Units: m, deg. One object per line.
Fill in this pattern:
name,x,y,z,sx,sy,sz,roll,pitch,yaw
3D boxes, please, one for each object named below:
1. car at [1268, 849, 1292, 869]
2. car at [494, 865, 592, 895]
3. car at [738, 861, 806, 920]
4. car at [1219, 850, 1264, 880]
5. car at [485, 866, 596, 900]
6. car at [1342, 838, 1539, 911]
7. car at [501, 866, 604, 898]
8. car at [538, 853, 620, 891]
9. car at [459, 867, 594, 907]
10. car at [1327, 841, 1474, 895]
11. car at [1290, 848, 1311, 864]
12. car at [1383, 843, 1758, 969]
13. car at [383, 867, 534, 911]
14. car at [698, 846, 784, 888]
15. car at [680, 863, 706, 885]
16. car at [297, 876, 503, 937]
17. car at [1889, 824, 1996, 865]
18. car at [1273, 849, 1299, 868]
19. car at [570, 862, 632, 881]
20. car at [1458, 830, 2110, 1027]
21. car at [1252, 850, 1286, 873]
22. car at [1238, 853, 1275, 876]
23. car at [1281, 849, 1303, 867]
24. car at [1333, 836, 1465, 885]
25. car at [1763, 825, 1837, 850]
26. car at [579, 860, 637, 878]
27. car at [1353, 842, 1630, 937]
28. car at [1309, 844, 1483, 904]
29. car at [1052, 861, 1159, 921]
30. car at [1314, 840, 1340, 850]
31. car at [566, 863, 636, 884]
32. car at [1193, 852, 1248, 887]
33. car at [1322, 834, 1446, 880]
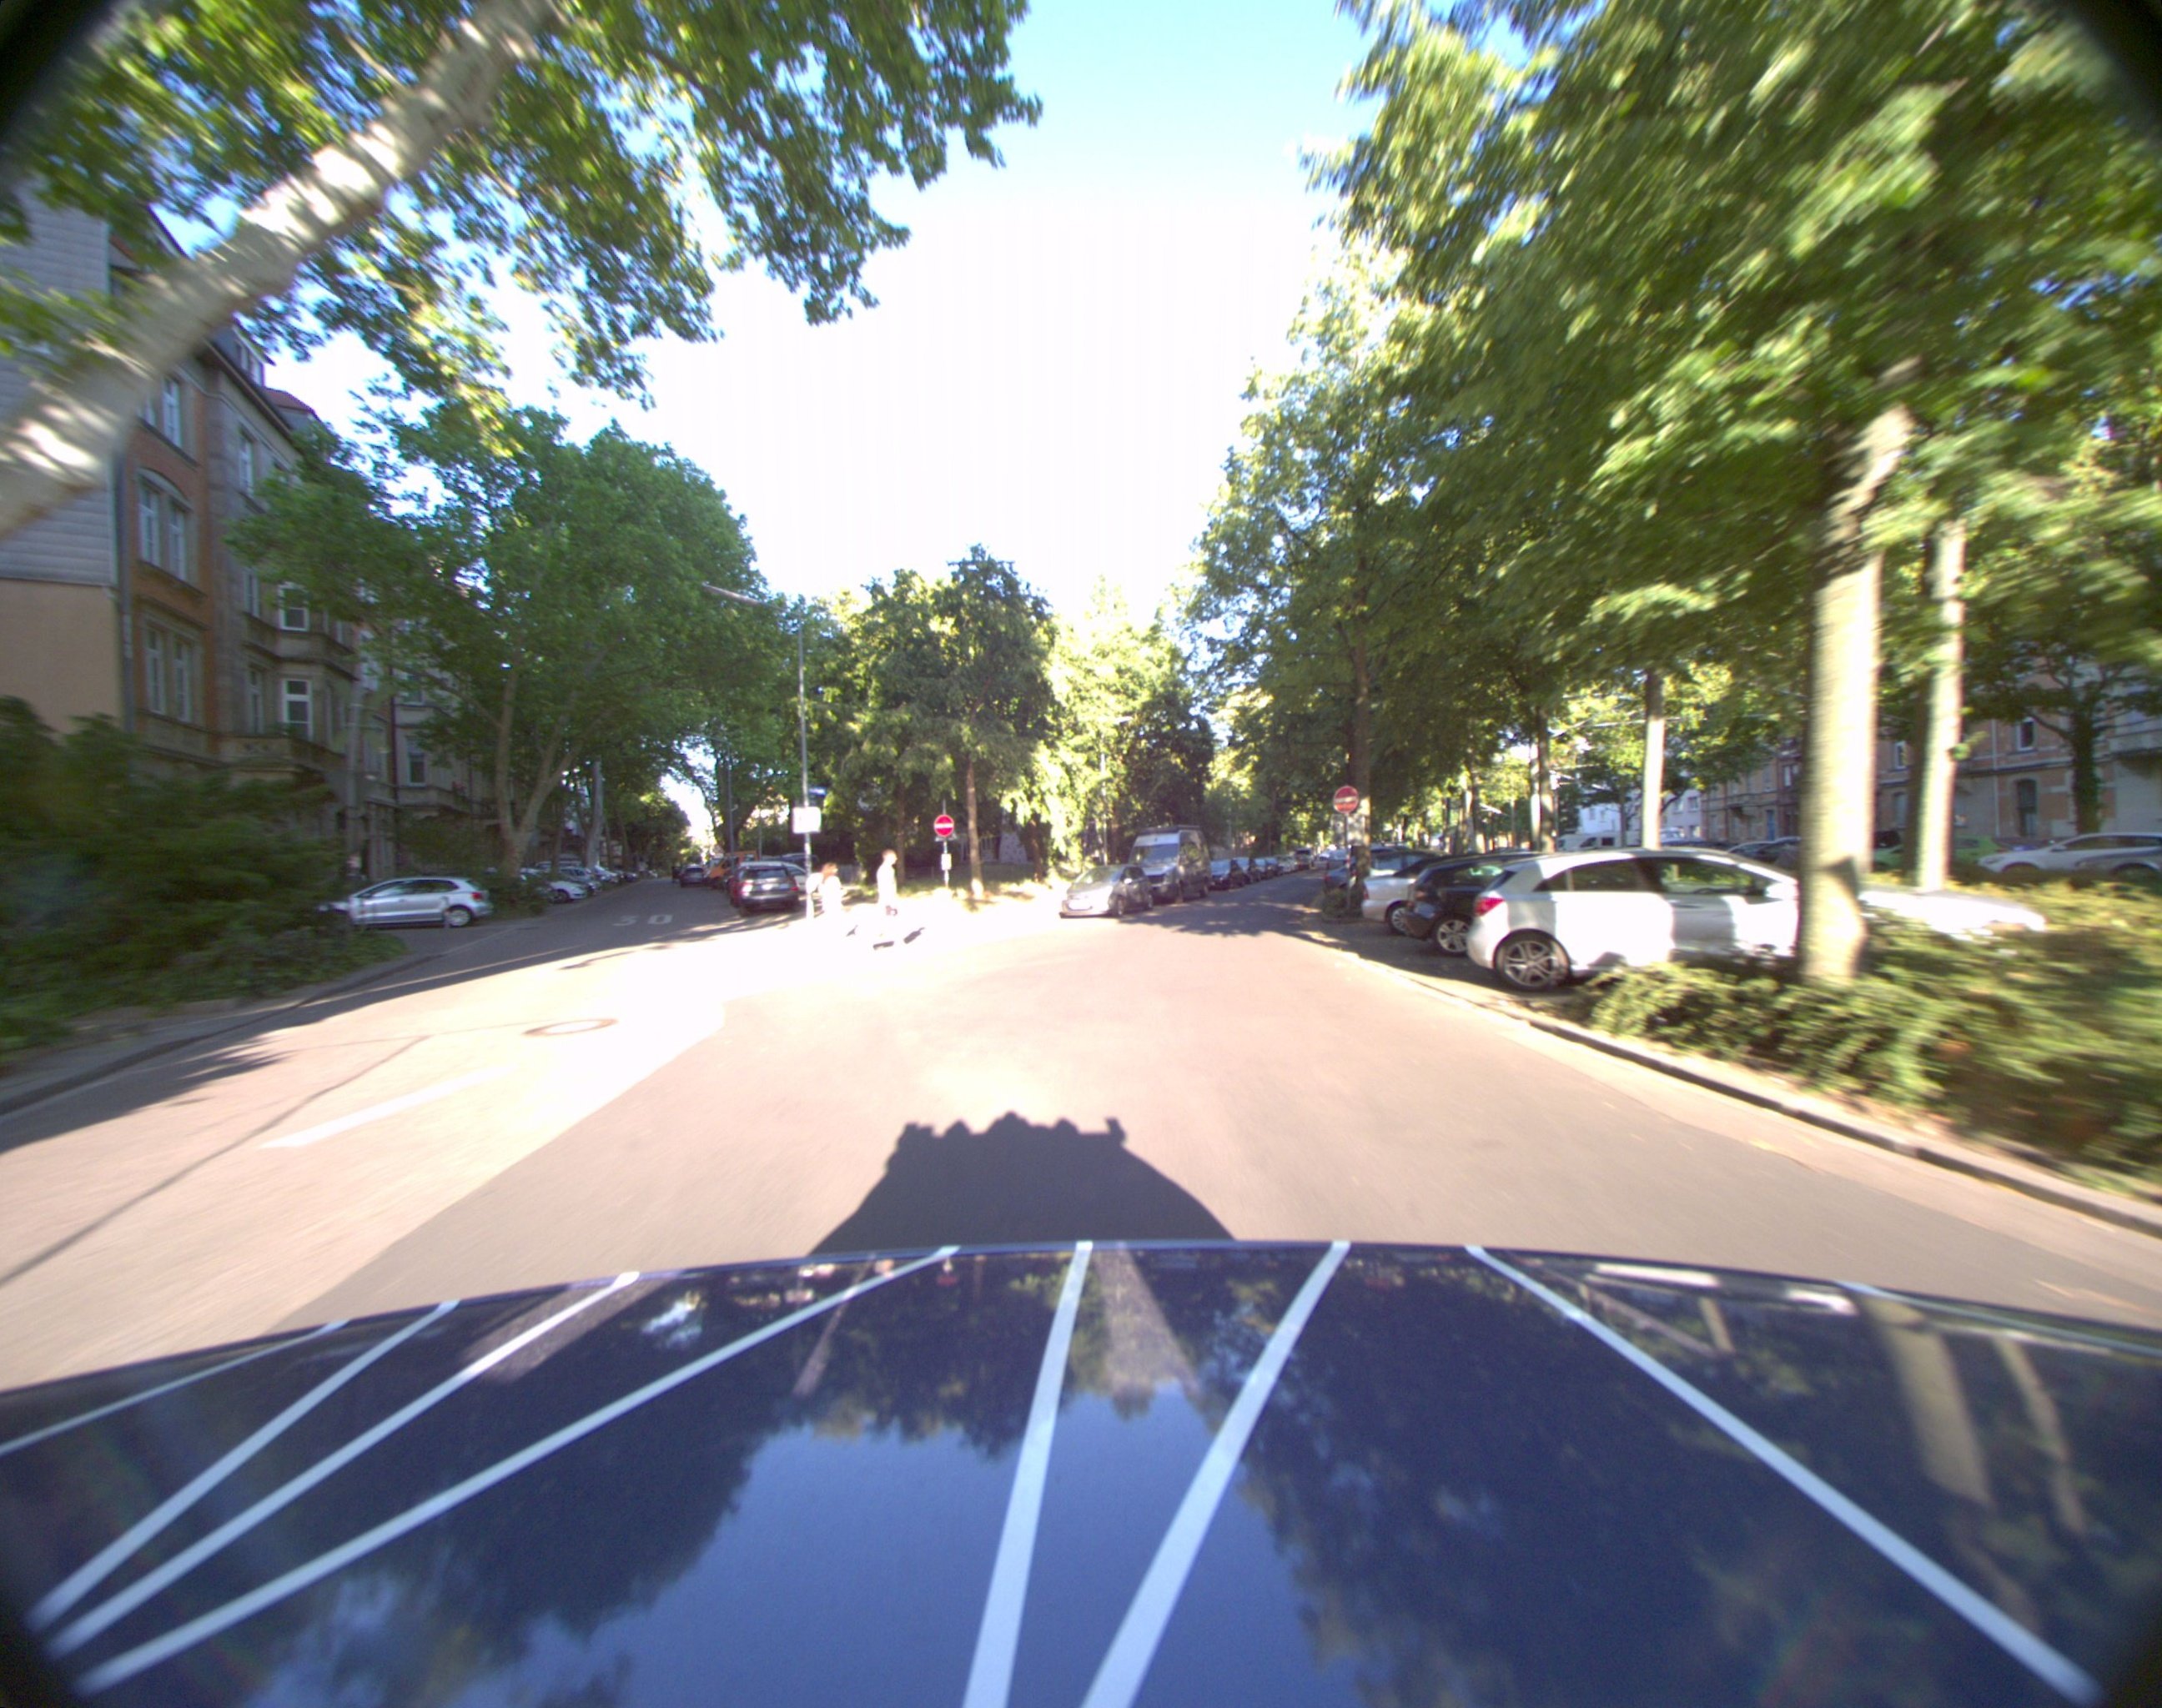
car,15.207,0.368,57.944,1.683,1.445,4.080,-2,0,16
car,-30.690,1.467,43.495,4.492,1.621,1.730,0,-1,-32
car,-9.973,1.084,24.459,1.744,1.543,4.268,-6,2,-23
car,9.001,0.594,42.404,1.682,1.517,4.293,-2,0,21
car,-27.268,1.425,38.544,4.492,1.621,1.730,0,-1,-32
car,8.738,0.546,18.673,1.835,1.485,3.875,-4,-1,-43
car,-28.428,1.474,41.065,4.492,1.621,1.730,0,0,-32
car,-34.420,1.190,52.217,4.599,2.487,1.730,0,0,-32
car,-24.307,1.418,33.478,4.488,1.621,1.732,0,0,-19
car,10.205,0.480,24.472,1.835,1.430,3.863,-4,-1,-44
car,20.879,0.187,72.179,1.674,1.445,3.954,-2,0,19
car,6.561,0.686,10.553,4.030,1.397,1.778,-4,0,35
car,-24.791,1.341,30.511,4.492,1.621,1.730,0,-1,-32
car,-21.034,0.776,47.020,4.647,2.399,1.603,-2,1,-29
car,-27.285,1.366,53.453,1.609,1.459,3.991,-1,1,-27
car,-18.639,1.376,21.077,4.007,1.464,1.730,0,-1,-32
car,42.085,-0.440,37.246,1.853,1.772,3.513,-4,-1,18
car,16.904,0.381,62.532,1.682,1.445,4.081,-2,0,20
car,-41.274,1.495,65.426,4.492,1.621,1.730,0,-1,-32
car,6.323,0.630,7.554,4.283,1.421,1.778,-4,0,37
car,13.003,0.475,52.476,1.682,1.415,4.665,-2,0,21
car,10.915,0.605,47.074,1.682,1.275,4.293,-2,0,19
car,18.748,0.314,67.438,1.592,1.445,3.560,-2,0,20
car,12.580,0.287,30.294,1.945,1.616,4.348,-4,-1,-41
car,45.599,-1.034,48.300,1.853,1.522,4.029,0,1,18
car,-43.674,1.375,70.239,4.492,1.621,1.730,0,-1,-32
car,7.115,0.656,13.331,3.975,1.357,1.778,-5,-1,36
car,9.072,0.625,22.097,1.835,1.430,4.190,-4,-1,-44
car,0.821,1.037,22.185,1.682,1.437,3.878,-4,-1,24
car,48.283,-1.730,149.299,4.432,1.612,1.637,-5,0,36
car,-37.307,1.494,59.131,4.492,1.621,1.730,0,-1,-32
car,6.779,0.704,36.598,1.682,1.517,4.496,-2,0,21
car,14.242,0.170,35.972,1.991,1.770,4.990,-4,-1,-42
